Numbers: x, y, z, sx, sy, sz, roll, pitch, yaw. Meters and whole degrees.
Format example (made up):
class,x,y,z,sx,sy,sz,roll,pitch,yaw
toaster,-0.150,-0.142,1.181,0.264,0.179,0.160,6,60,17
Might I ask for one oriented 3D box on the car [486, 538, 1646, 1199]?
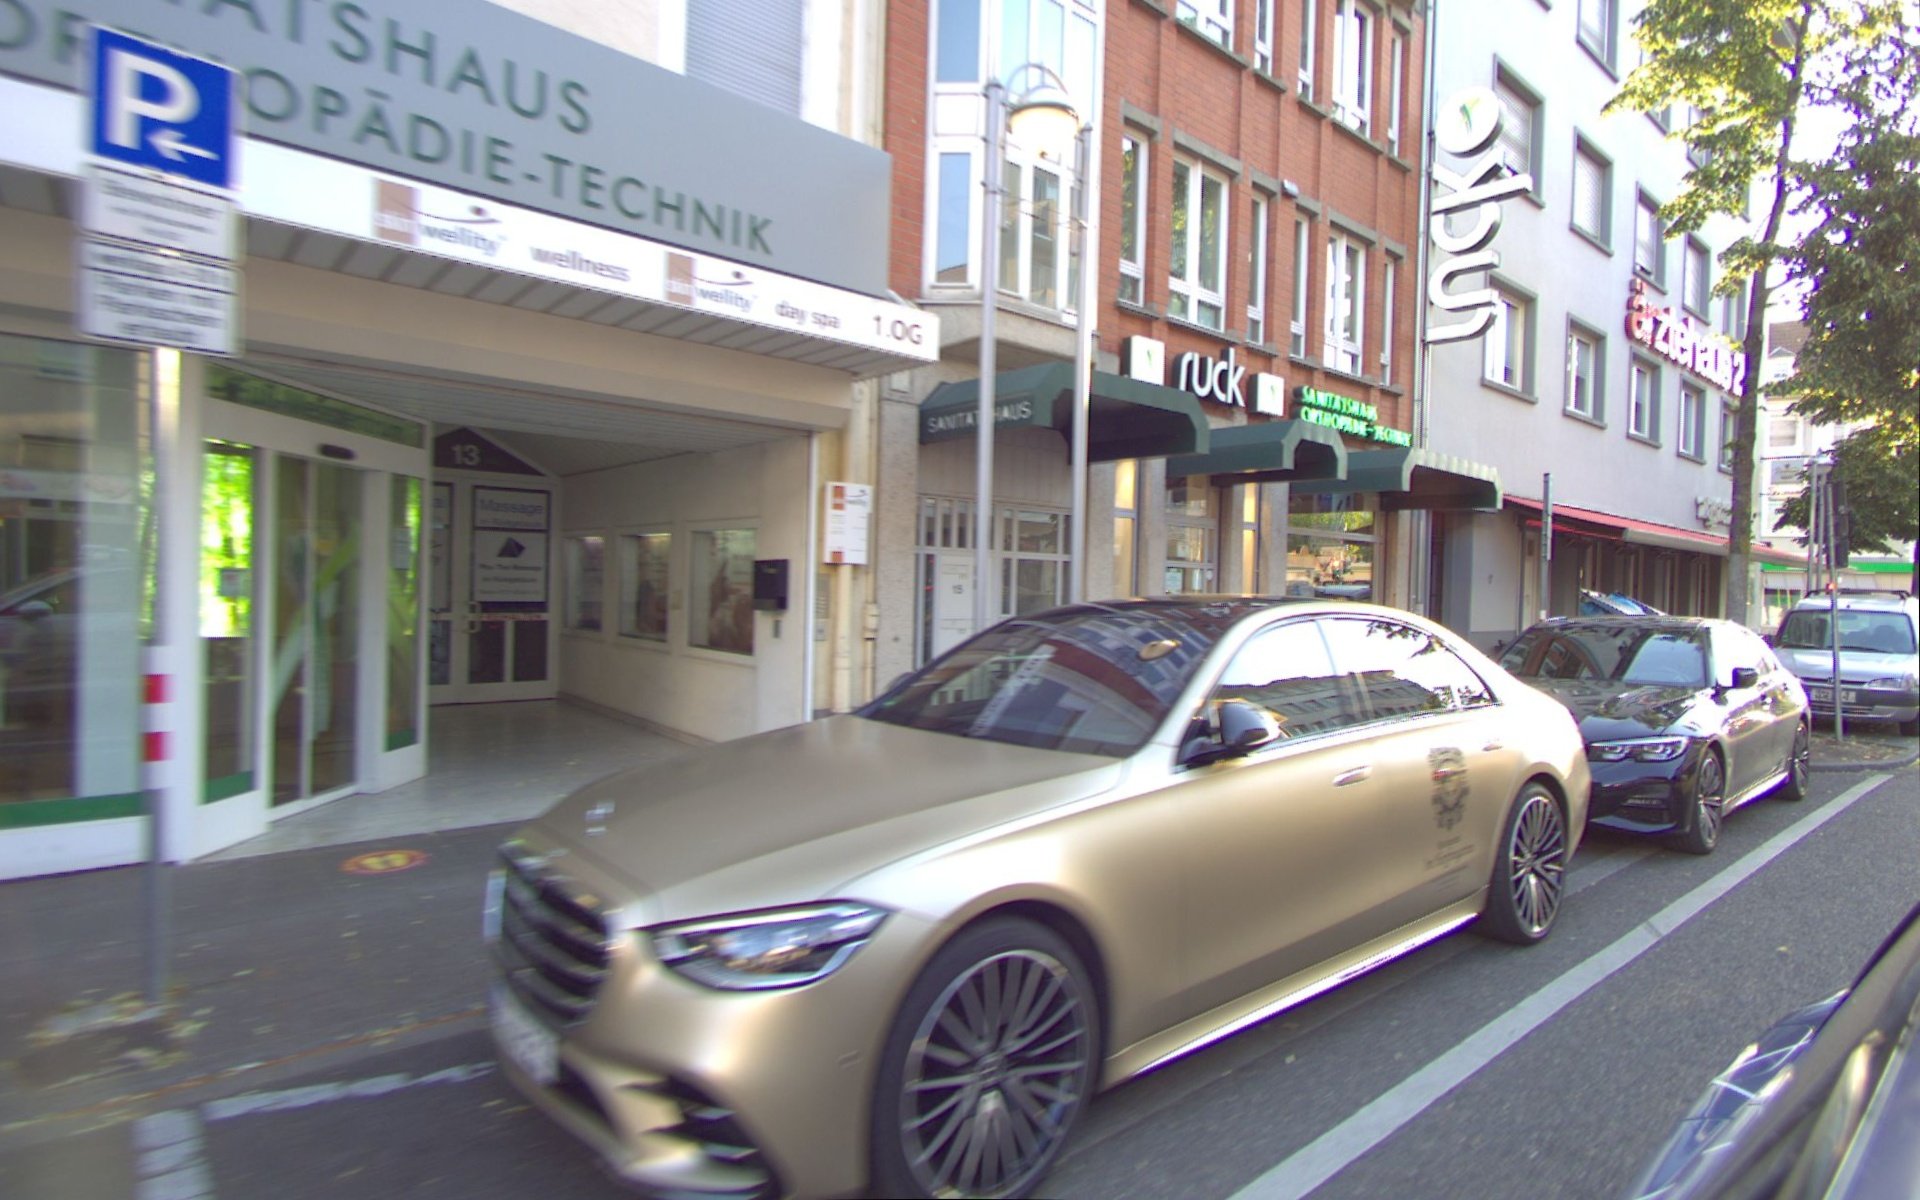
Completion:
class,x,y,z,sx,sy,sz,roll,pitch,yaw
car,0.908,0.637,4.155,4.903,1.546,1.816,0,0,-39

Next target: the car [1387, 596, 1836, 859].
class,x,y,z,sx,sy,sz,roll,pitch,yaw
car,5.148,0.728,7.714,4.431,1.438,1.755,1,0,-42

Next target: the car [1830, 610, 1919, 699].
class,x,y,z,sx,sy,sz,roll,pitch,yaw
car,16.801,0.894,17.684,4.110,1.394,1.940,1,0,-42

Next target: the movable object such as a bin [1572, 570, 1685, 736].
class,x,y,z,sx,sy,sz,roll,pitch,yaw
movable object such as a bin,7.750,0.565,11.716,1.331,1.796,0.835,0,0,-44

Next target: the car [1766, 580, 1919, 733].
class,x,y,z,sx,sy,sz,roll,pitch,yaw
car,12.343,0.691,13.765,3.944,1.801,1.656,1,-1,-44

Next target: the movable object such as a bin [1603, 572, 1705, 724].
class,x,y,z,sx,sy,sz,roll,pitch,yaw
movable object such as a bin,8.660,0.558,12.617,1.186,1.796,0.835,0,0,-44
